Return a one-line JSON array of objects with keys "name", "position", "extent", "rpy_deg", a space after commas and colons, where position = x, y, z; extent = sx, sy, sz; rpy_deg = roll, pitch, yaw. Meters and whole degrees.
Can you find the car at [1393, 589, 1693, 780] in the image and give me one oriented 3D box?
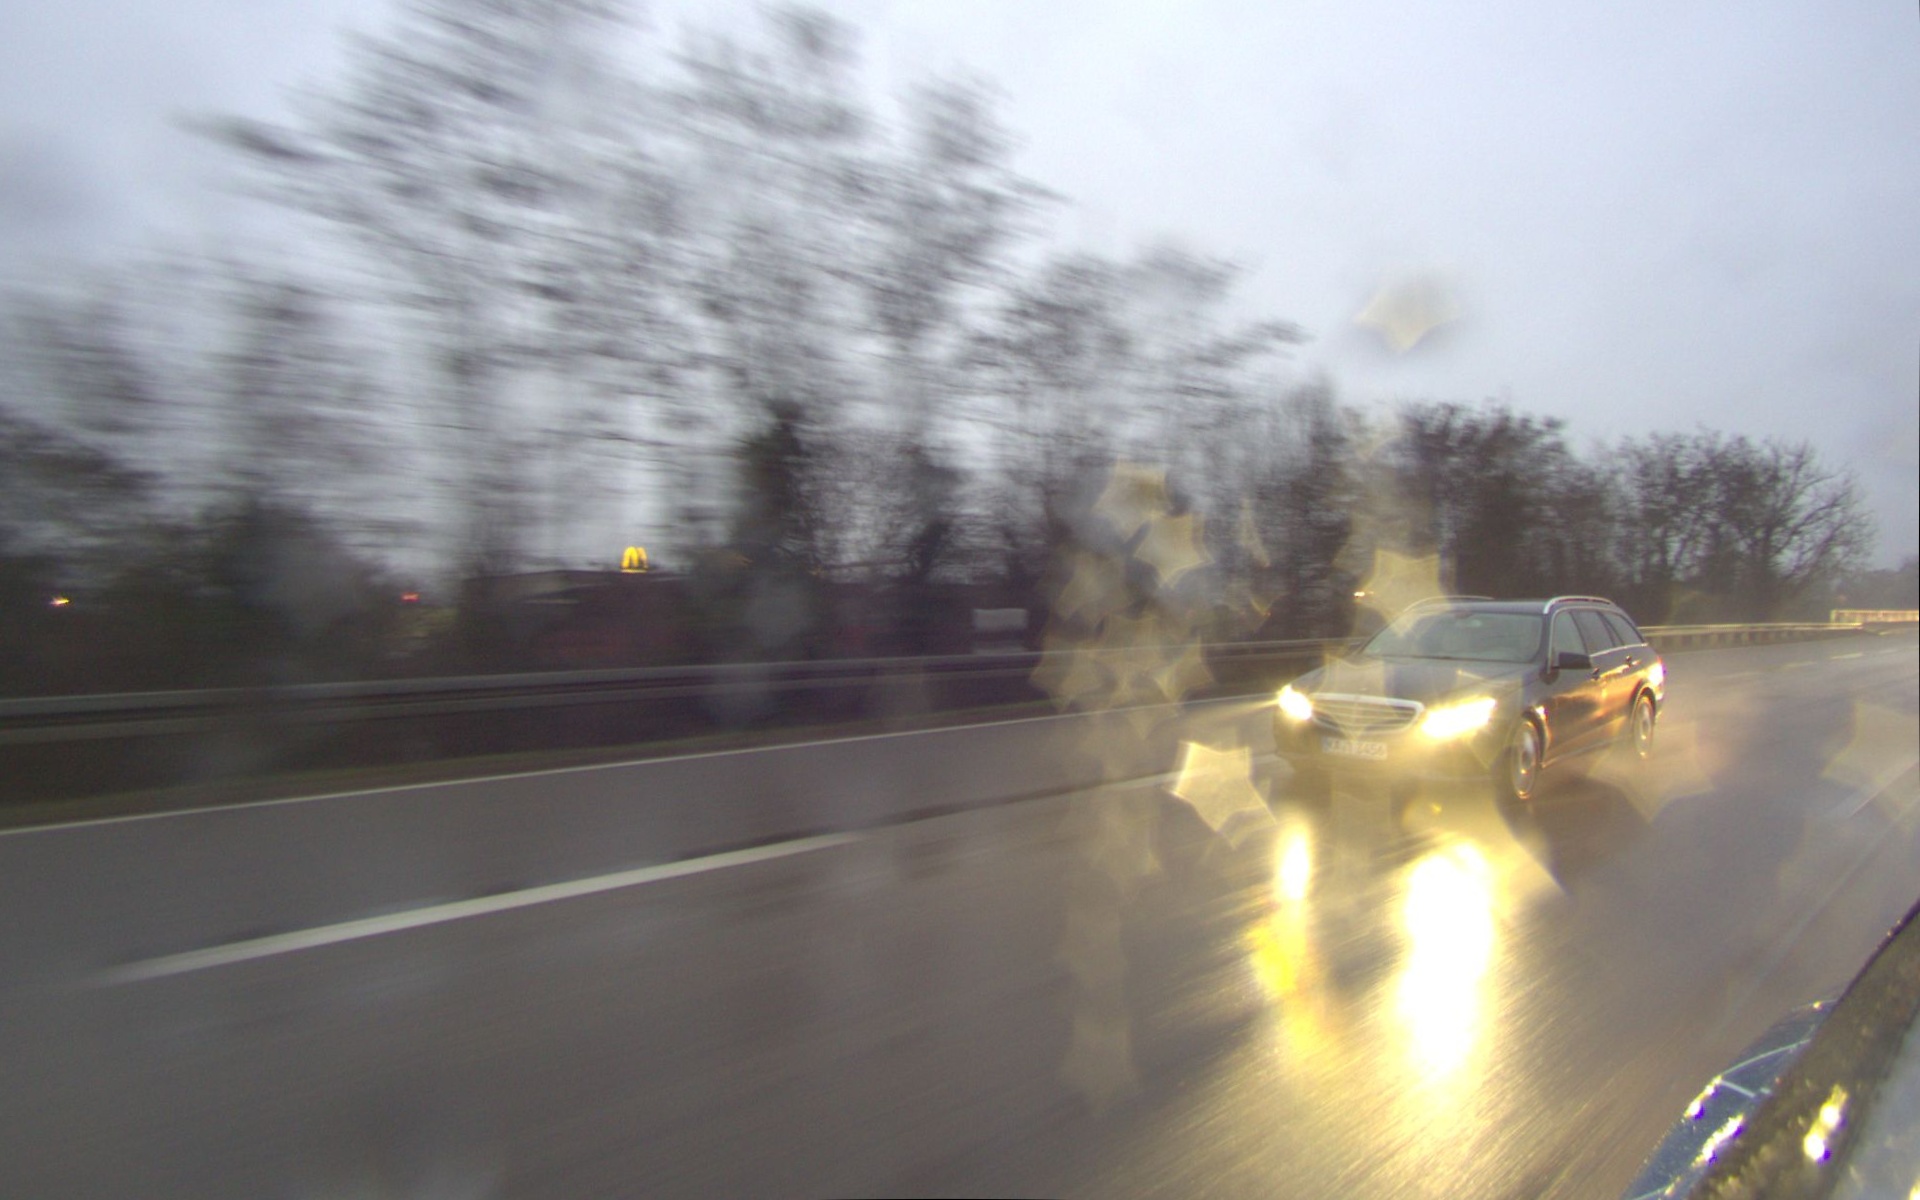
[{"name": "car", "position": [5.820, 0.648, 9.870], "extent": [1.591, 1.472, 4.109], "rpy_deg": [0, 0, 44]}]
